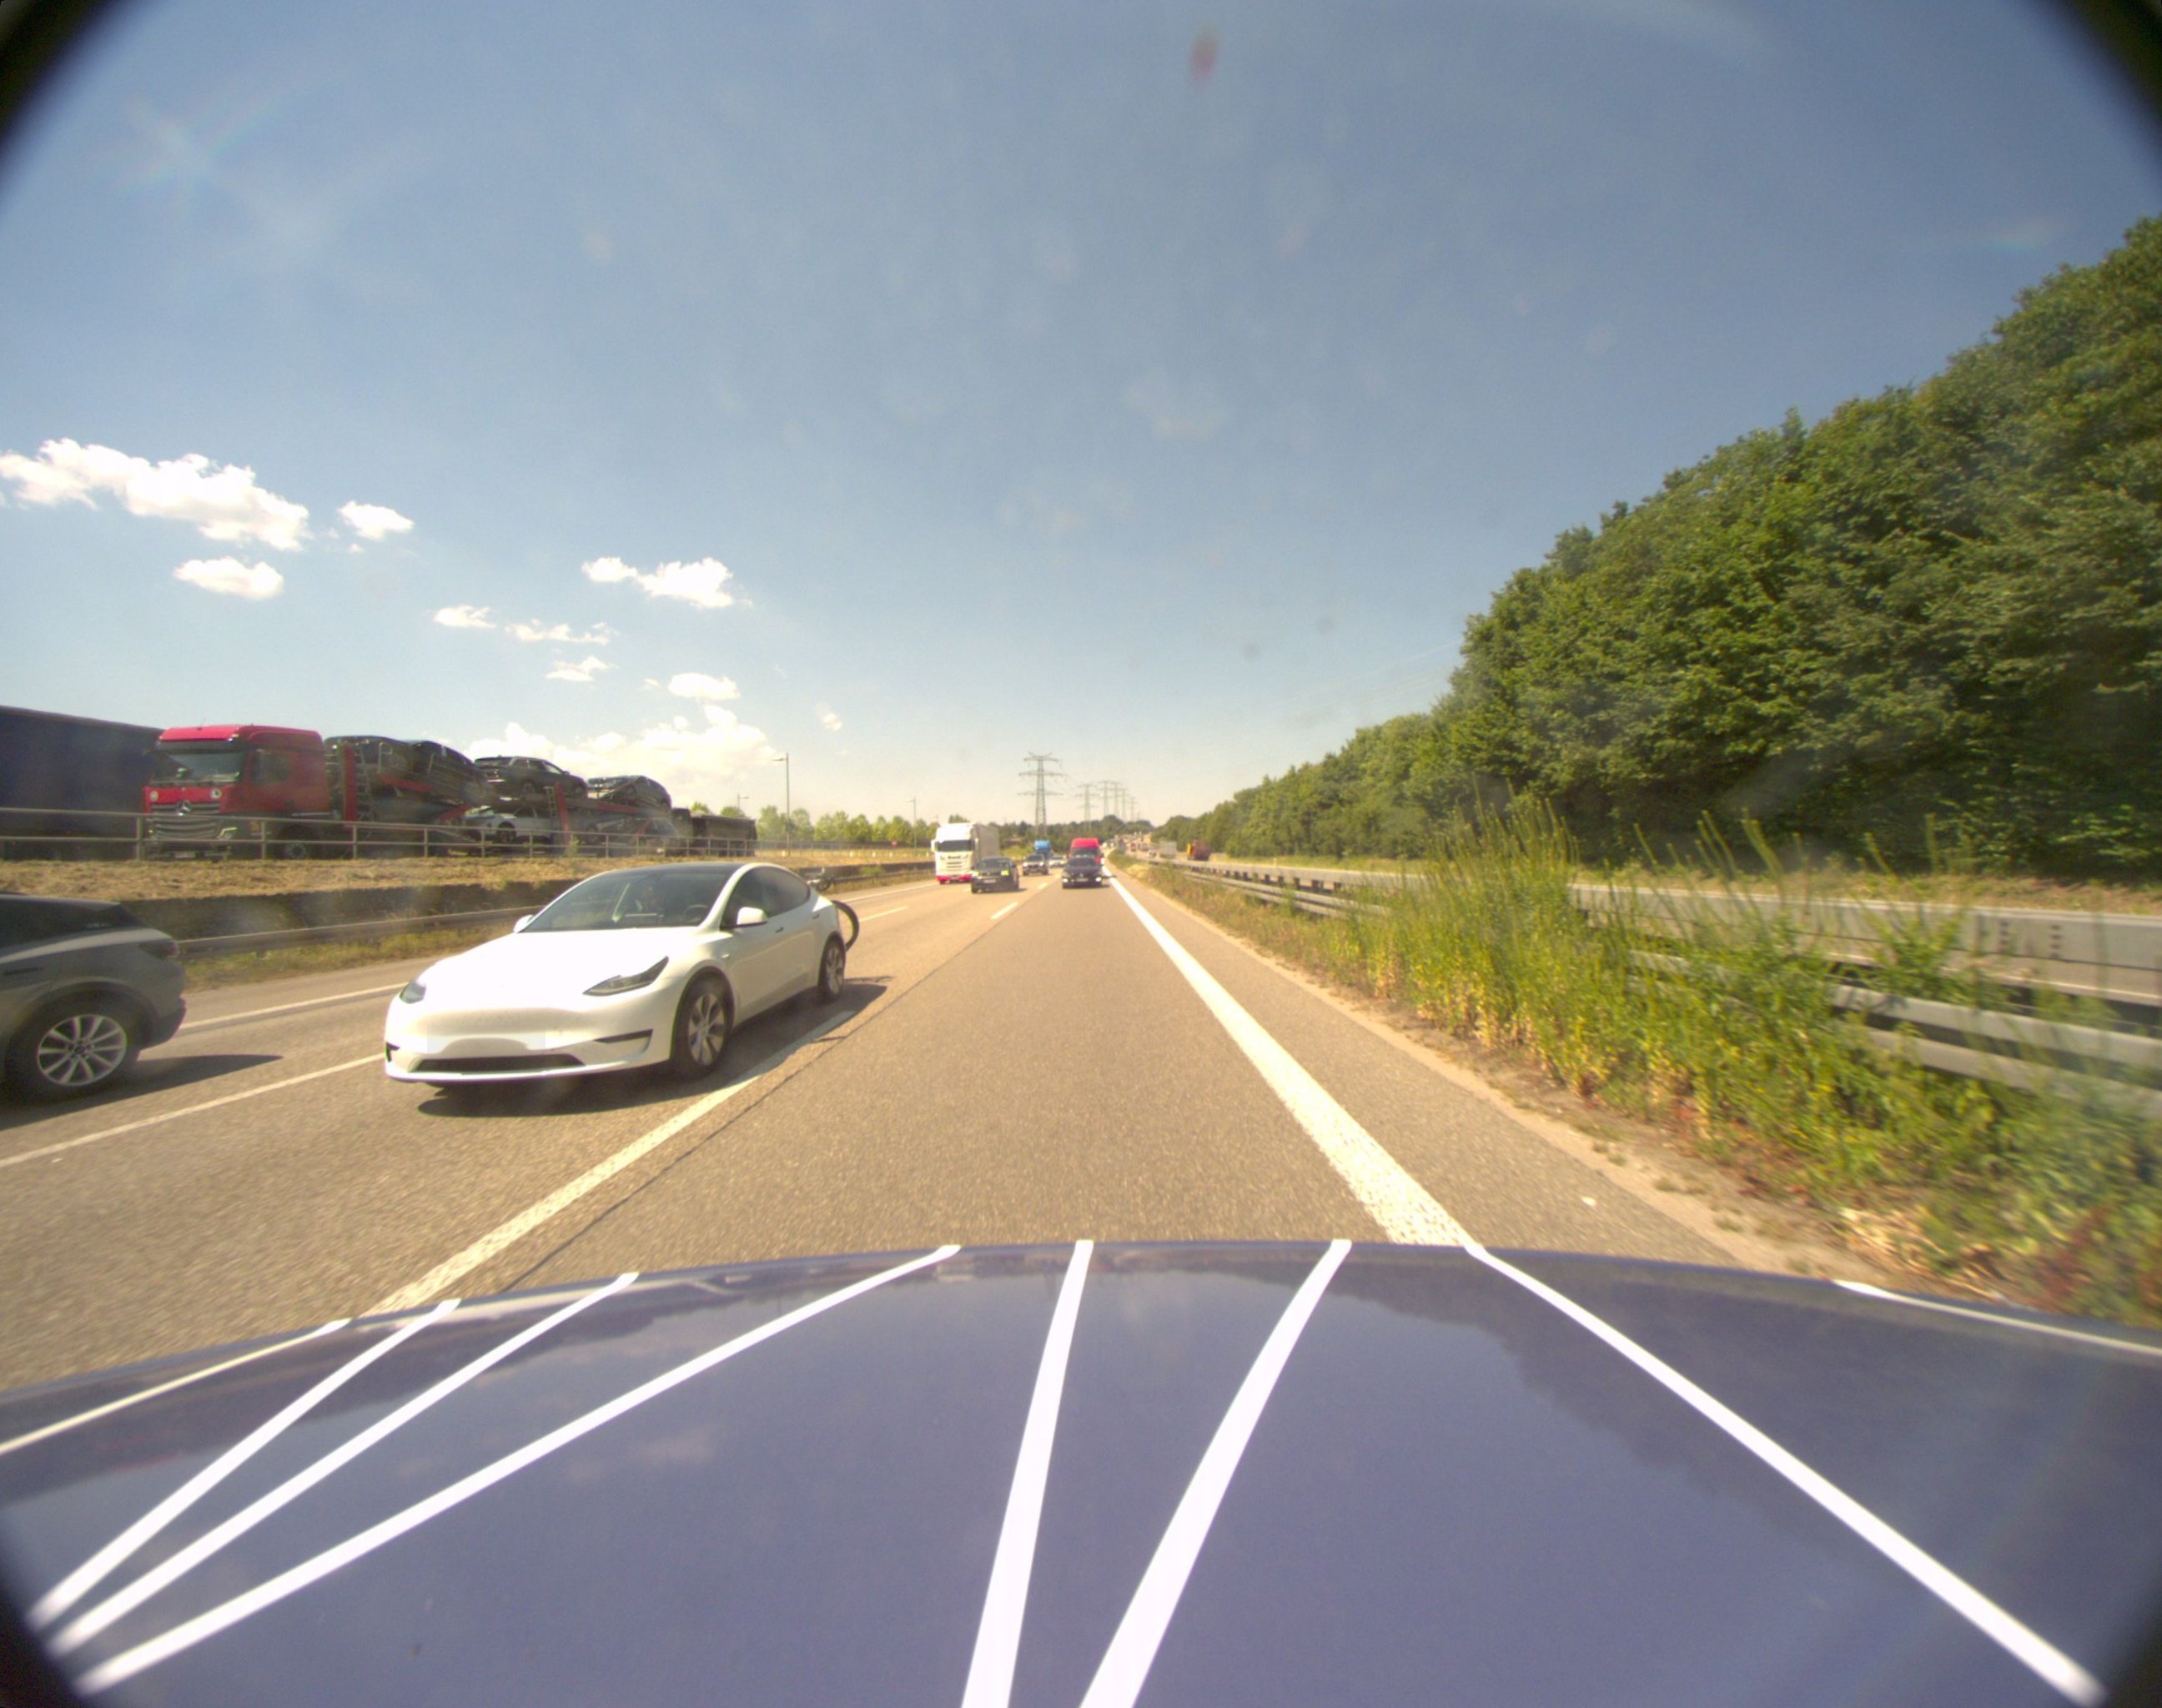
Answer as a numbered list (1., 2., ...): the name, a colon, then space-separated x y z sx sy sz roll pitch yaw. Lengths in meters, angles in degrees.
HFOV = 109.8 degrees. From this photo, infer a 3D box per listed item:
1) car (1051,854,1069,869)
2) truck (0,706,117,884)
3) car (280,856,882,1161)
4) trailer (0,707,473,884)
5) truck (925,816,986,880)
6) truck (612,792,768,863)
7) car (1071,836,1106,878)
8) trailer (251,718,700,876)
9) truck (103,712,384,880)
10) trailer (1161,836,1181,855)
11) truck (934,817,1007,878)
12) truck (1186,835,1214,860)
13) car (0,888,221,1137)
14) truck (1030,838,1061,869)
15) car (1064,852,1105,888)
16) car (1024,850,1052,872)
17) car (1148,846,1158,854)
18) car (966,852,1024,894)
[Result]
1. car: -2.440 0.861 90.240 1.878 1.591 3.688 -1 1 3
2. truck: -26.382 -1.286 16.264 3.060 4.060 6.396 -3 1 0
3. car: -3.688 0.929 7.302 1.955 1.627 5.599 -3 1 1
4. trailer: -26.385 -1.396 23.736 3.060 4.060 14.255 -3 1 0
5. truck: -8.071 -0.409 49.350 3.076 3.885 3.847 -3 1 1
6. truck: -25.738 -1.672 51.312 3.798 4.060 12.516 -3 1 0
7. car: 0.530 0.127 49.579 2.100 2.598 4.496 -1 1 3
8. trailer: -21.327 -1.699 30.187 2.612 4.233 18.419 -3 1 1
9. truck: -21.502 -1.390 19.841 2.608 3.805 3.999 -3 1 1
10. trailer: 21.486 -2.099 181.901 3.462 4.255 7.968 -3 1 0
11. truck: -7.899 -0.492 56.266 3.076 3.885 12.503 -3 1 1
12. truck: 19.289 -1.127 123.799 2.789 3.717 11.156 -3 1 1
13. car: -8.383 1.177 4.219 1.873 1.627 4.585 -3 1 1
14. truck: -6.035 -0.225 130.702 3.797 4.971 14.924 -3 1 2
15. car: 0.219 0.729 35.844 1.735 1.536 3.750 0 1 3
16. car: -3.441 0.523 61.270 1.749 1.691 4.088 -1 1 3
17. car: 16.625 -0.903 175.761 1.998 1.661 5.610 1 1 1
18. car: -3.880 0.822 34.856 1.955 1.637 4.047 -3 1 3
